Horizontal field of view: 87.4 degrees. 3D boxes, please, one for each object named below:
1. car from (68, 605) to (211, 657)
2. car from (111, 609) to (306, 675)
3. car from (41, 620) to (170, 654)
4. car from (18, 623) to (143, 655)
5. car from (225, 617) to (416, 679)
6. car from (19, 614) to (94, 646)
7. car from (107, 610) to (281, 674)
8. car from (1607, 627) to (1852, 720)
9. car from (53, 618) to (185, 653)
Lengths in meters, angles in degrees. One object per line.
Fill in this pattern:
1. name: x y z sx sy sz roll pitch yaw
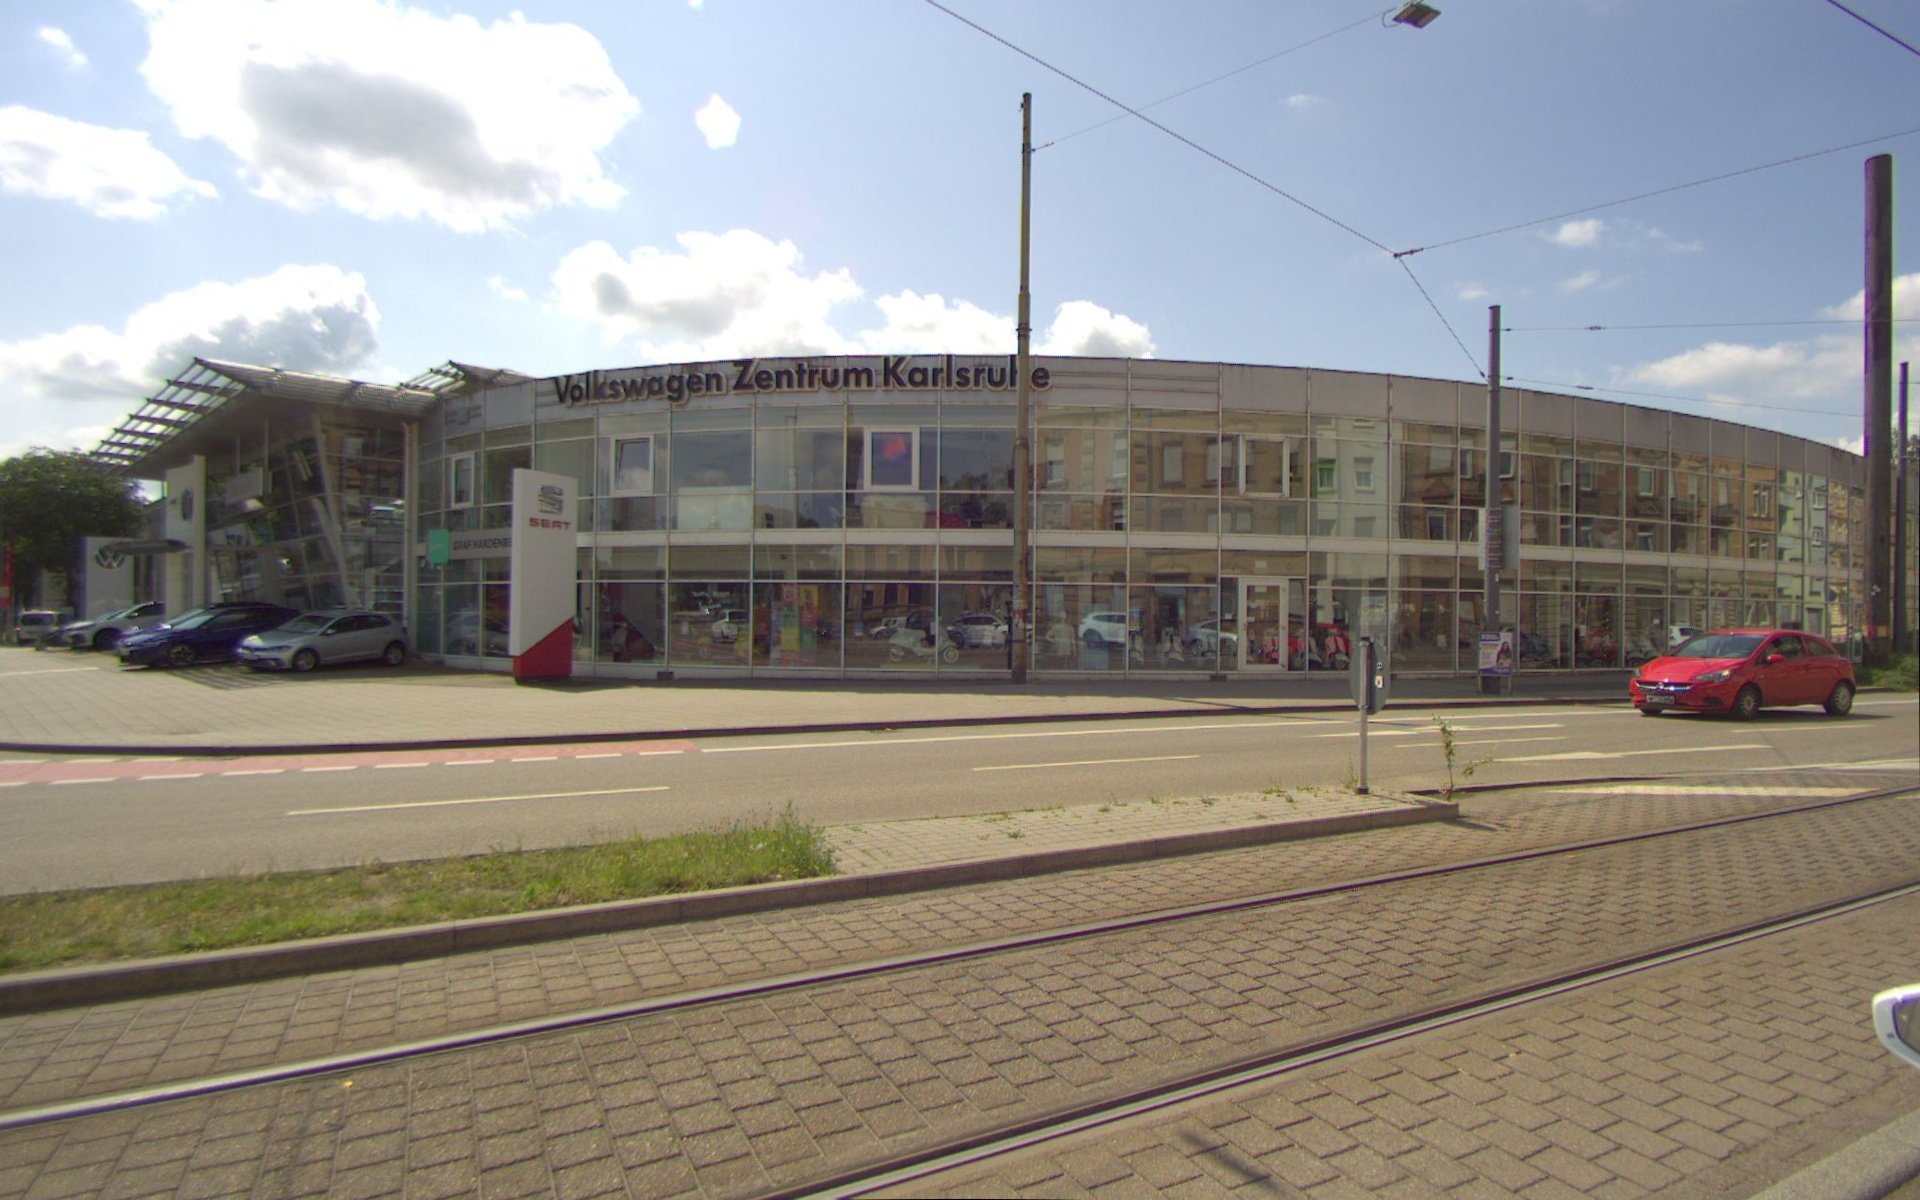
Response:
1. car: -30.148 1.127 36.984 1.676 1.798 3.845 0 -1 41
2. car: -19.811 1.053 26.635 1.631 1.494 3.778 0 2 32
3. car: -33.994 1.436 40.028 1.531 1.262 3.631 0 -1 32
4. car: -36.334 1.578 41.578 1.531 1.262 3.631 0 -1 32
5. car: -16.651 1.197 26.382 1.799 1.466 3.947 0 -1 19
6. car: -47.659 1.566 53.083 1.975 1.639 3.971 1 -1 -28
7. car: -21.899 1.153 28.887 1.741 1.695 3.641 0 -1 15
8. car: 13.202 1.189 17.242 3.847 1.447 1.698 1 -2 -24
9. car: -32.281 1.336 38.646 1.532 1.262 3.627 0 -1 36
